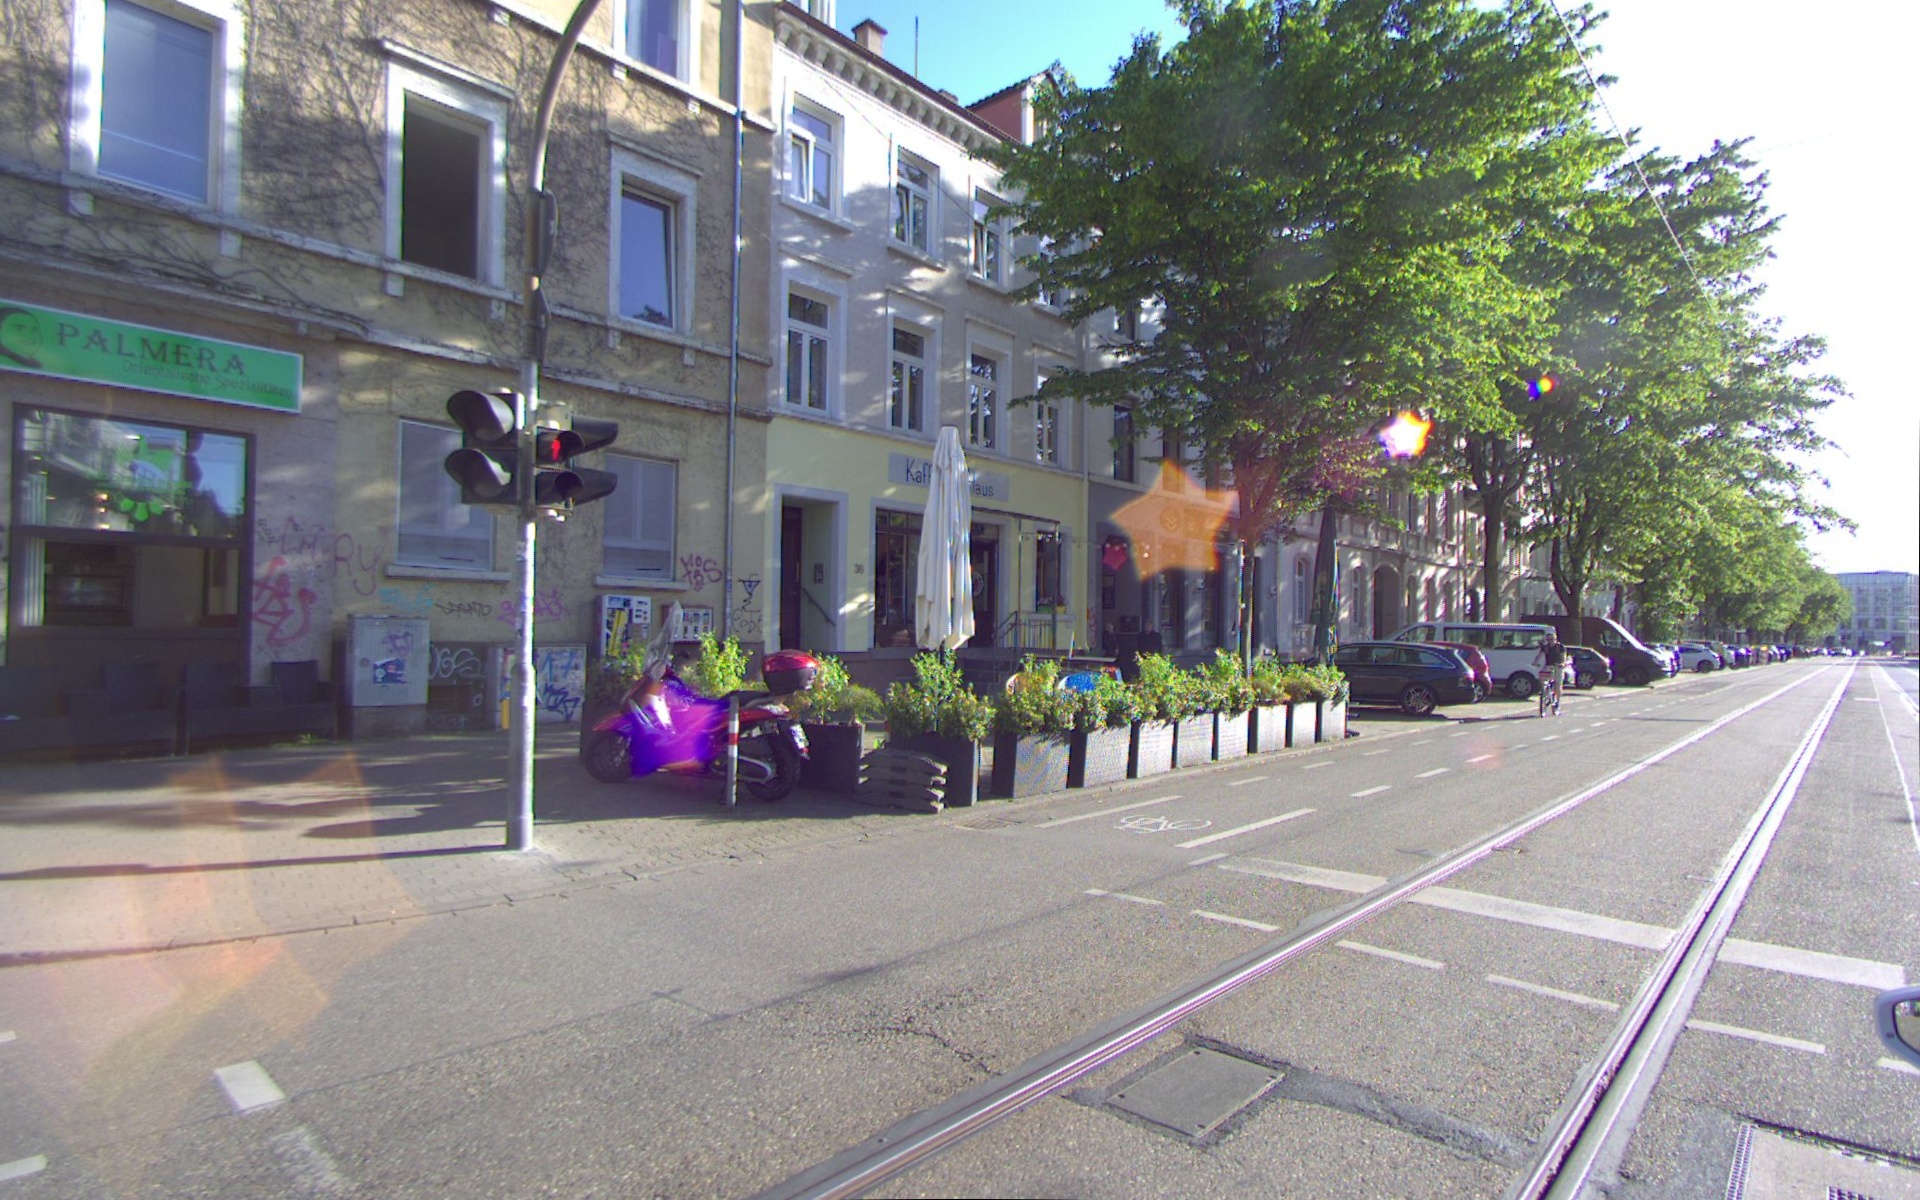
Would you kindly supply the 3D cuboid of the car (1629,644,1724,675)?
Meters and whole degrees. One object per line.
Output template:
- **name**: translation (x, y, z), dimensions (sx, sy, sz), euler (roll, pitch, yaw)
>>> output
- **car**: translation (40.658, 3.359, 57.112), dimensions (4.021, 1.472, 1.828), euler (3, 0, 23)

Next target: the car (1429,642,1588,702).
- **car**: translation (16.623, 2.131, 30.521), dimensions (4.032, 1.438, 1.823), euler (3, -1, 35)

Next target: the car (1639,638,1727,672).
- **car**: translation (45.129, 3.428, 62.790), dimensions (4.020, 1.777, 1.828), euler (3, 0, 21)

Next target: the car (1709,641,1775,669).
- **car**: translation (66.803, 4.712, 85.874), dimensions (4.020, 2.081, 1.828), euler (3, 0, 21)

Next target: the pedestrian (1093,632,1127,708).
- **pedestrian**: translation (3.338, 1.548, 22.381), dimensions (0.531, 1.664, 0.567), euler (-2, -3, 40)

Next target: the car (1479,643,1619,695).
- **car**: translation (20.596, 2.381, 35.331), dimensions (4.023, 1.438, 1.827), euler (3, 0, 26)

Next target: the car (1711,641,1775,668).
- **car**: translation (69.474, 4.809, 89.148), dimensions (4.020, 2.081, 1.828), euler (3, 0, 21)

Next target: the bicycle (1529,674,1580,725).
- **bicycle**: translation (12.662, 2.096, 21.388), dimensions (0.603, 0.965, 1.874), euler (-1, -3, 41)

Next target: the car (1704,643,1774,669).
- **car**: translation (62.815, 4.490, 81.054), dimensions (4.020, 1.777, 1.828), euler (3, 0, 21)

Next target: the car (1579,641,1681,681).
- **car**: translation (32.726, 2.937, 49.094), dimensions (4.033, 1.629, 1.822), euler (3, 0, 36)

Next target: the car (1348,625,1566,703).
- **car**: translation (13.709, 1.738, 28.123), dimensions (5.242, 2.017, 2.039), euler (0, -2, 19)

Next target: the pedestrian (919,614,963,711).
- **pedestrian**: translation (-0.331, 1.098, 17.682), dimensions (0.531, 1.664, 0.567), euler (-2, -3, 40)

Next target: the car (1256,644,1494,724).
- **car**: translation (8.814, 1.748, 21.644), dimensions (4.553, 1.510, 1.689), euler (0, -2, 20)

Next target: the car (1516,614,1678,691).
- **car**: translation (25.159, 2.030, 39.777), dimensions (5.118, 2.612, 2.236), euler (3, 0, 40)

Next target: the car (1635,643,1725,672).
- **car**: translation (43.515, 3.453, 60.804), dimensions (4.021, 1.472, 1.828), euler (3, 0, 23)

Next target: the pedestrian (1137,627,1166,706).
- **pedestrian**: translation (4.311, 1.484, 22.582), dimensions (0.496, 1.737, 0.539), euler (-1, -2, 28)

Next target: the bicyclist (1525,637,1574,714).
- **bicyclist**: translation (12.630, 1.586, 21.516), dimensions (0.716, 1.593, 1.023), euler (-1, -2, 41)

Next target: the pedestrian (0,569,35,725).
- **pedestrian**: translation (-11.213, 0.537, 11.474), dimensions (0.637, 1.764, 0.693), euler (1, -2, -16)

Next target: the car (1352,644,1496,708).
- **car**: translation (11.898, 1.932, 25.976), dimensions (3.260, 1.523, 1.689), euler (0, -3, 21)

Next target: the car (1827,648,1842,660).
- **car**: translation (149.886, 9.249, 172.162), dimensions (1.660, 1.861, 3.856), euler (3, -1, 39)

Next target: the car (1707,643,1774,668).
- **car**: translation (64.934, 4.602, 83.625), dimensions (4.020, 1.777, 1.828), euler (3, 0, 21)

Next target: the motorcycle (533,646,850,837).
- **motorcycle**: translation (-2.275, 1.146, 8.652), dimensions (2.372, 1.368, 1.001), euler (3, -2, 12)

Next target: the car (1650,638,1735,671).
- **car**: translation (46.849, 3.445, 64.338), dimensions (4.020, 1.777, 1.828), euler (3, 0, 21)

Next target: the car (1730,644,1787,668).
- **car**: translation (80.877, 5.685, 101.800), dimensions (4.020, 2.081, 1.828), euler (3, 0, 21)
